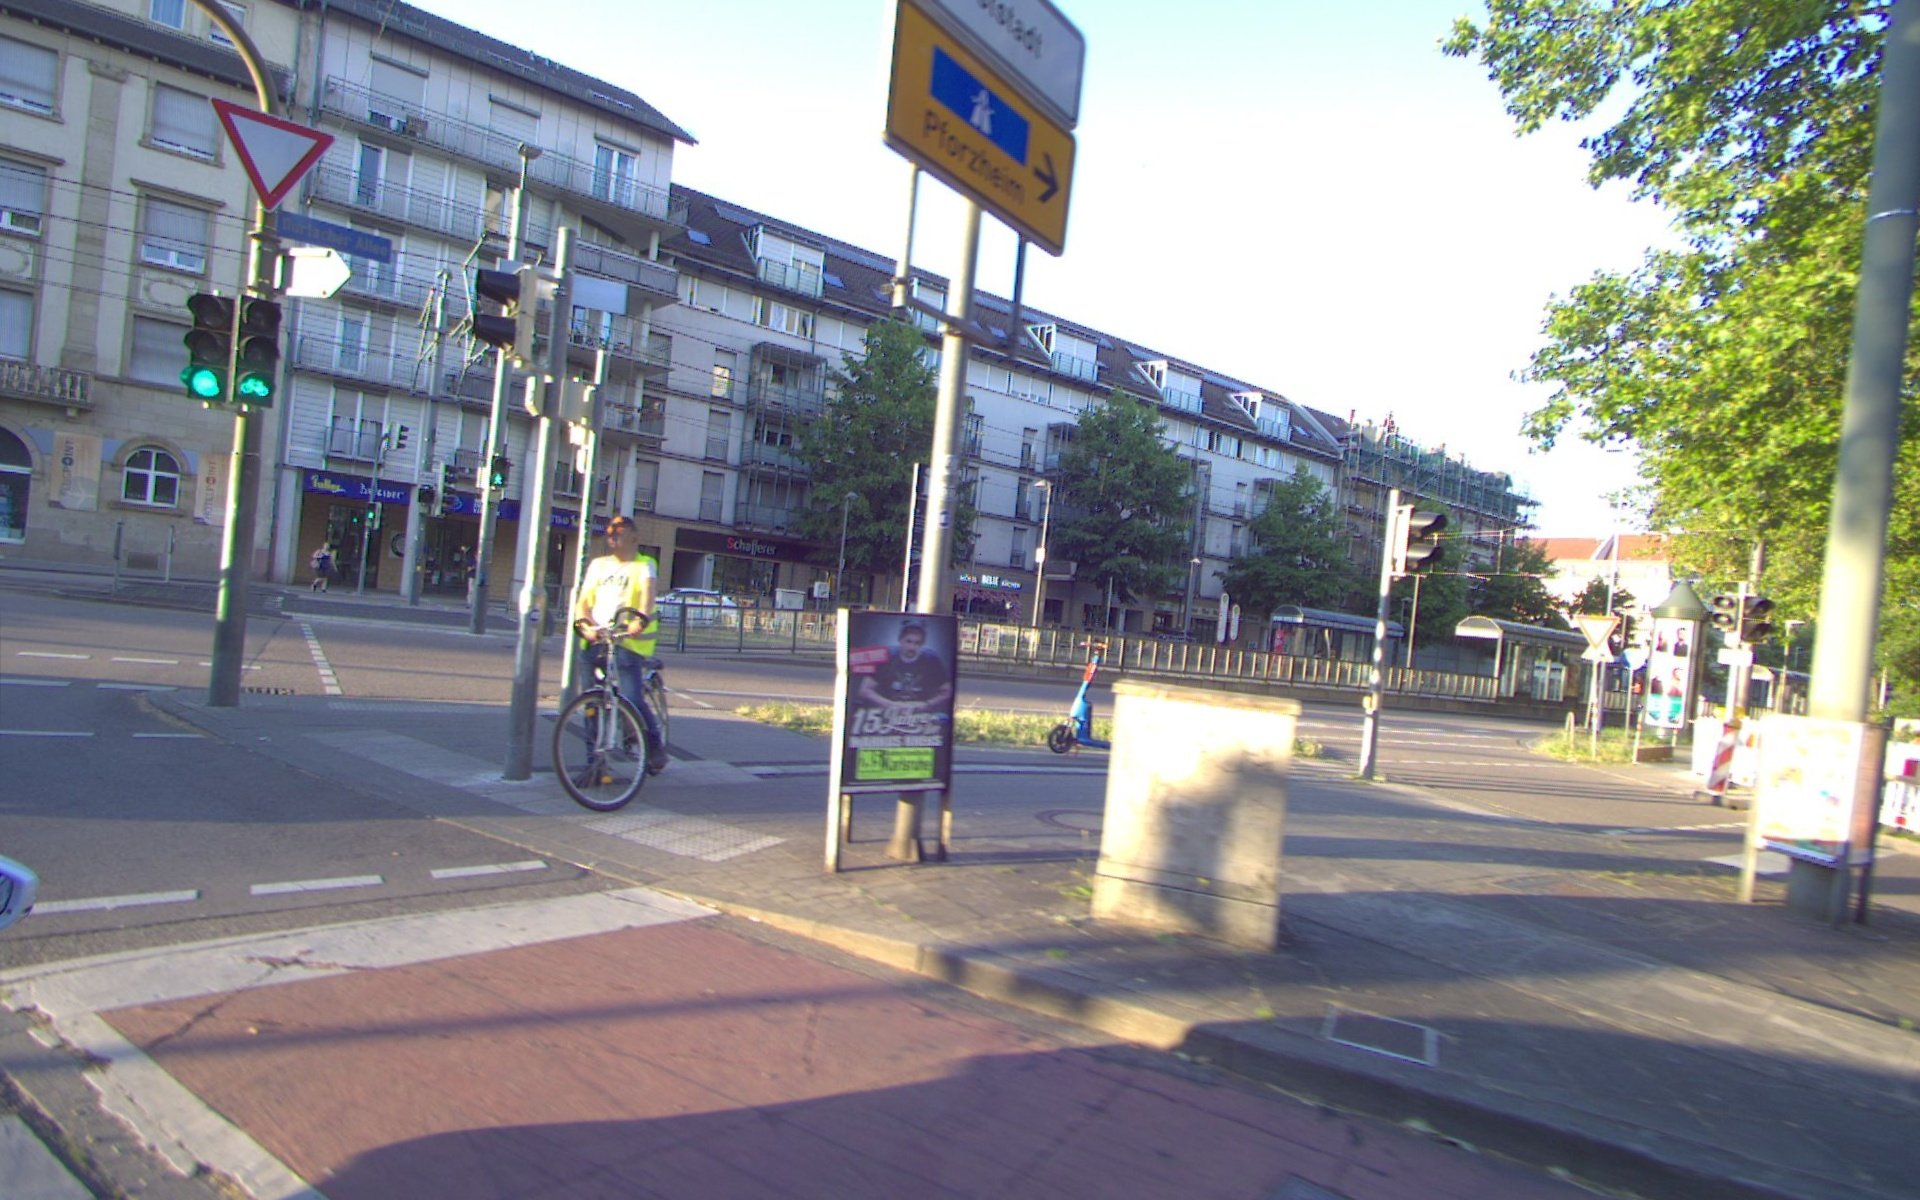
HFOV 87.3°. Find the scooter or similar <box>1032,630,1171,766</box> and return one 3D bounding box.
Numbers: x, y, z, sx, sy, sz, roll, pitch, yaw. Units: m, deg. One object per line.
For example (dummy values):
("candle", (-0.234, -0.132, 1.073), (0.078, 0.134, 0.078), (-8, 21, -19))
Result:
("scooter or similar", (1.467, 1.008, 10.433), (1.216, 1.264, 0.514), (7, -1, -18))

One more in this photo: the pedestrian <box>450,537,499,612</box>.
("pedestrian", (-15.363, -0.804, 31.826), (0.805, 2.235, 0.871), (6, -1, 18))

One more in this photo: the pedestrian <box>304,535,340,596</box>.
("pedestrian", (-19.990, -1.071, 31.528), (0.781, 1.800, 0.539), (7, -1, -33))

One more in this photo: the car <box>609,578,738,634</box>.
("car", (-10.227, 0.229, 36.000), (3.962, 1.503, 1.834), (8, -2, -34))

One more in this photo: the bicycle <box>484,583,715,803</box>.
("bicycle", (-2.192, 0.541, 6.451), (0.616, 1.122, 2.073), (6, -2, 0))

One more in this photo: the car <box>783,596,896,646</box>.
("car", (-4.750, 0.834, 39.903), (3.968, 1.503, 1.831), (8, -2, -38))

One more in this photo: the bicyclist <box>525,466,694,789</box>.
("bicyclist", (-2.155, 0.176, 6.279), (0.616, 1.846, 0.699), (6, -1, 0))
